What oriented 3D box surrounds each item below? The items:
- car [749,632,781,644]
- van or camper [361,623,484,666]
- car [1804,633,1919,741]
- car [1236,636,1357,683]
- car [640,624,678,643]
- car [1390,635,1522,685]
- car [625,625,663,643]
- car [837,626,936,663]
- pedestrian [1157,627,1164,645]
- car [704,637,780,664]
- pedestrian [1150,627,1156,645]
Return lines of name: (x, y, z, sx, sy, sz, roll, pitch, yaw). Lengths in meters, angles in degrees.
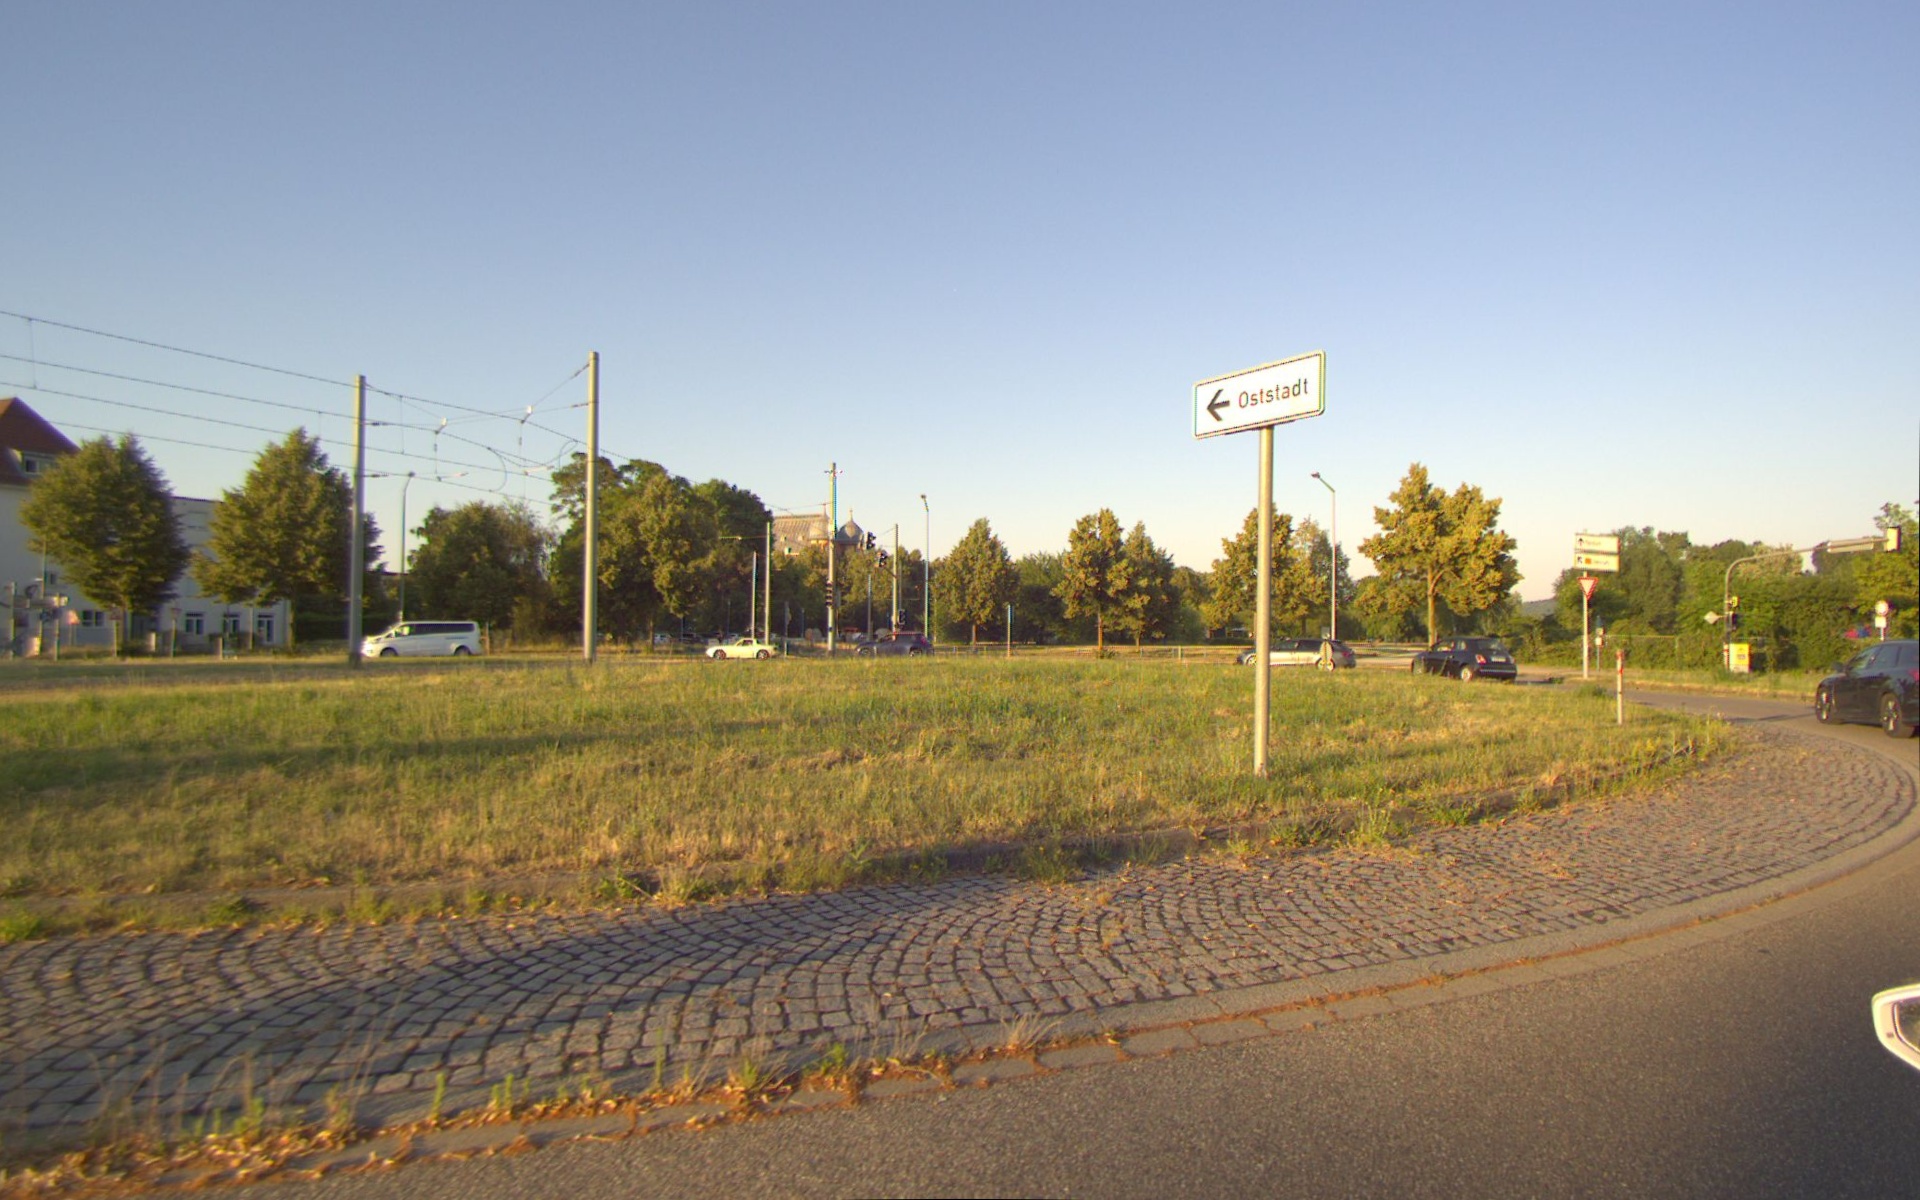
car: (-27.330, 5.358, 140.789, 3.922, 1.571, 2.000, 0, -2, 21)
van or camper: (-26.995, 2.192, 50.544, 5.251, 2.037, 1.896, 1, -1, -36)
car: (15.093, 1.286, 15.770, 1.718, 1.486, 4.132, 0, -1, 24)
car: (13.796, 2.395, 41.222, 4.511, 1.771, 1.750, 0, -1, 26)
car: (-35.797, 3.996, 119.317, 3.922, 2.126, 2.000, 0, -2, 22)
car: (15.952, 1.878, 32.538, 1.720, 1.465, 4.127, 0, -1, -11)
car: (-36.823, 3.952, 117.033, 3.922, 2.126, 2.000, 0, -2, 22)
car: (-3.557, 2.147, 48.866, 4.504, 1.771, 1.753, 0, -1, 8)
pedestrian: (18.673, 3.320, 93.479, 0.608, 1.648, 0.531, 0, -1, 11)
car: (-11.549, 2.668, 53.306, 3.708, 1.272, 1.579, 1, 0, -4)
pedestrian: (17.903, 3.345, 93.295, 0.569, 1.648, 0.533, 0, -1, 10)
